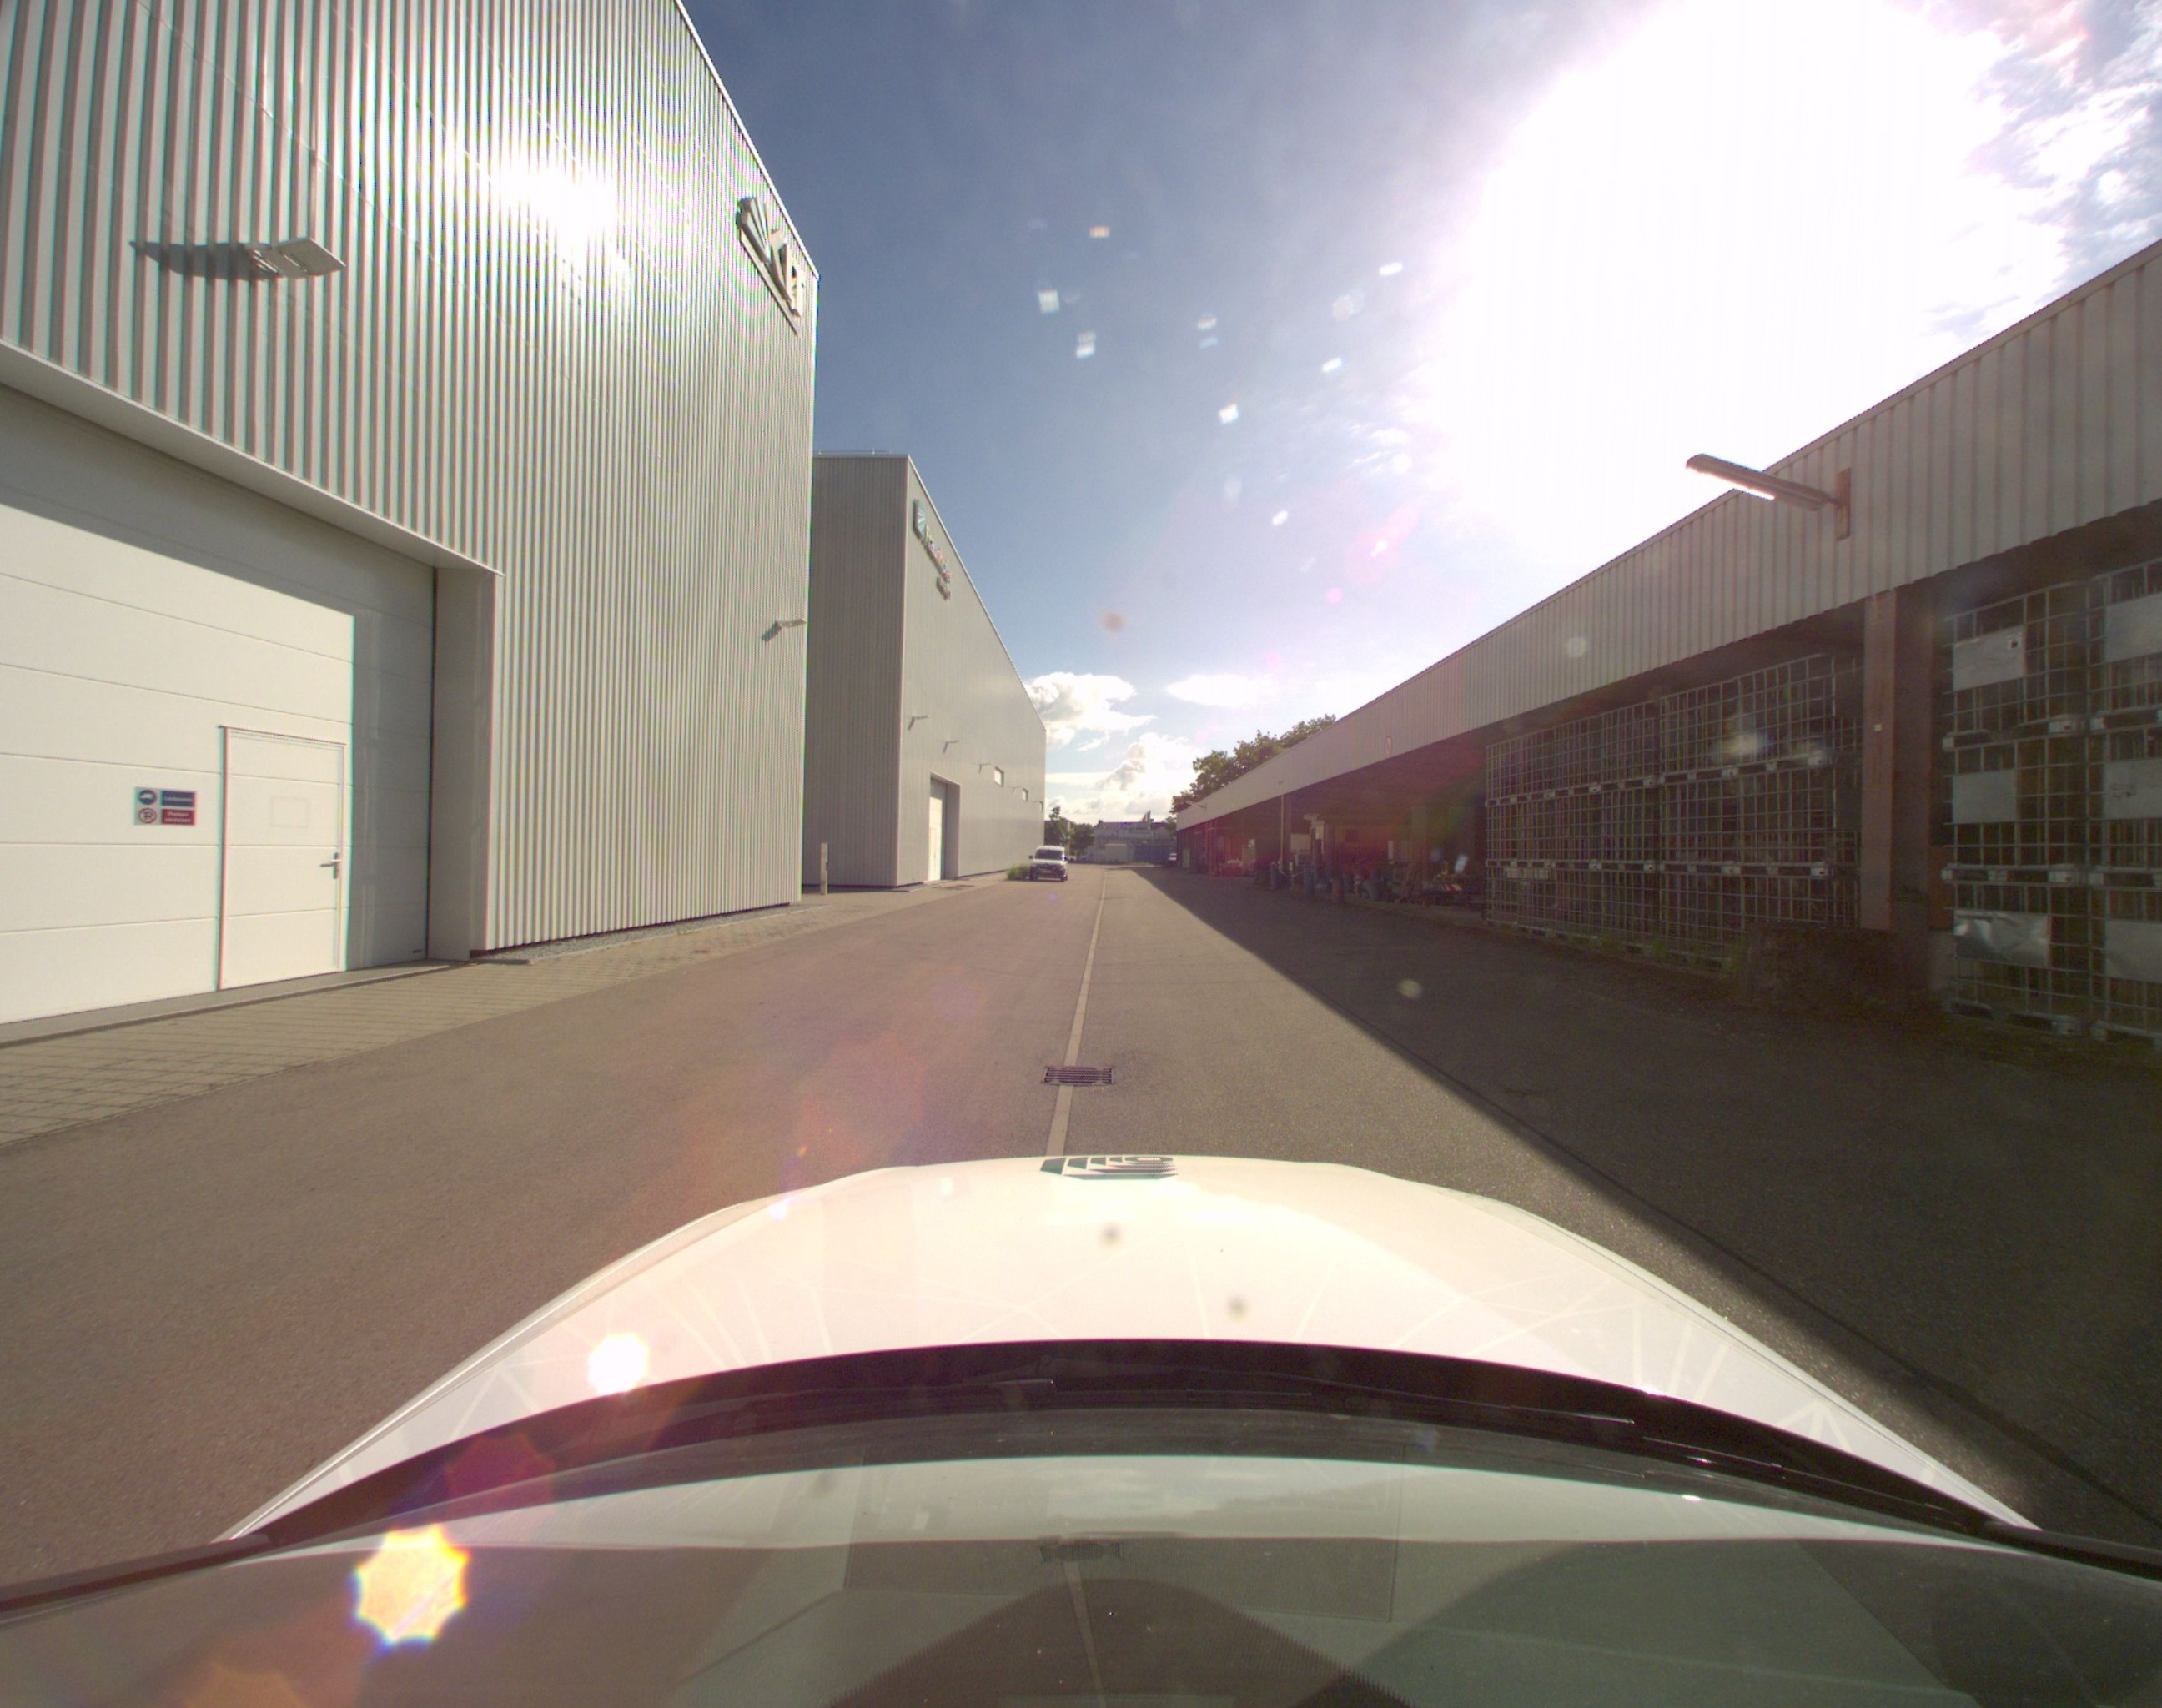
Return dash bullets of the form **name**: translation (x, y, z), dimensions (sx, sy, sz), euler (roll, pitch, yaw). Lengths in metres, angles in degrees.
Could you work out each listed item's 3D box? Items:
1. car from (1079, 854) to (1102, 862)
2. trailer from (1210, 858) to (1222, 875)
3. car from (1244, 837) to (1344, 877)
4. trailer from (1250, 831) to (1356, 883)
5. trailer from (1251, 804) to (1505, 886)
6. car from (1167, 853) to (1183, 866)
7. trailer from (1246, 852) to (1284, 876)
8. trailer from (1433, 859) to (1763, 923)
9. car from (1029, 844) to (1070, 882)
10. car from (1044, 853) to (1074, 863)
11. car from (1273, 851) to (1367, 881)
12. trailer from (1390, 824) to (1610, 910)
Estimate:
- **car**: translation (1.757, 0.771, 152.490), dimensions (4.287, 1.457, 1.824), euler (0, -1, 1)
- **trailer**: translation (8.843, 0.797, 53.361), dimensions (0.550, 1.118, 1.547), euler (-1, -1, 0)
- **car**: translation (12.354, 0.204, 47.566), dimensions (5.313, 2.281, 2.153), euler (0, -1, 1)
- **trailer**: translation (10.504, 0.149, 38.804), dimensions (4.498, 2.342, 2.049), euler (-1, -1, 2)
- **trailer**: translation (12.981, -0.378, 36.256), dimensions (10.228, 3.343, 2.802), euler (-1, 0, 2)
- **car**: translation (12.848, 0.739, 111.883), dimensions (1.971, 1.602, 4.381), euler (-1, 1, 3)
- **trailer**: translation (11.320, 0.603, 50.199), dimensions (2.028, 1.466, 1.741), euler (-1, 0, 6)
- **trailer**: translation (10.670, 0.740, 17.117), dimensions (5.709, 1.185, 1.974), euler (-1, -1, 0)
- **car**: translation (-1.590, 0.474, 42.649), dimensions (1.777, 1.816, 4.603), euler (2, 0, 2)
- **car**: translation (-3.359, 0.584, 124.686), dimensions (4.432, 1.531, 1.824), euler (0, -1, 1)
- **car**: translation (12.061, 0.606, 41.327), dimensions (4.236, 1.471, 1.869), euler (0, 0, -2)
- **trailer**: translation (10.368, 0.323, 20.466), dimensions (4.404, 1.990, 2.165), euler (-1, -1, 3)
